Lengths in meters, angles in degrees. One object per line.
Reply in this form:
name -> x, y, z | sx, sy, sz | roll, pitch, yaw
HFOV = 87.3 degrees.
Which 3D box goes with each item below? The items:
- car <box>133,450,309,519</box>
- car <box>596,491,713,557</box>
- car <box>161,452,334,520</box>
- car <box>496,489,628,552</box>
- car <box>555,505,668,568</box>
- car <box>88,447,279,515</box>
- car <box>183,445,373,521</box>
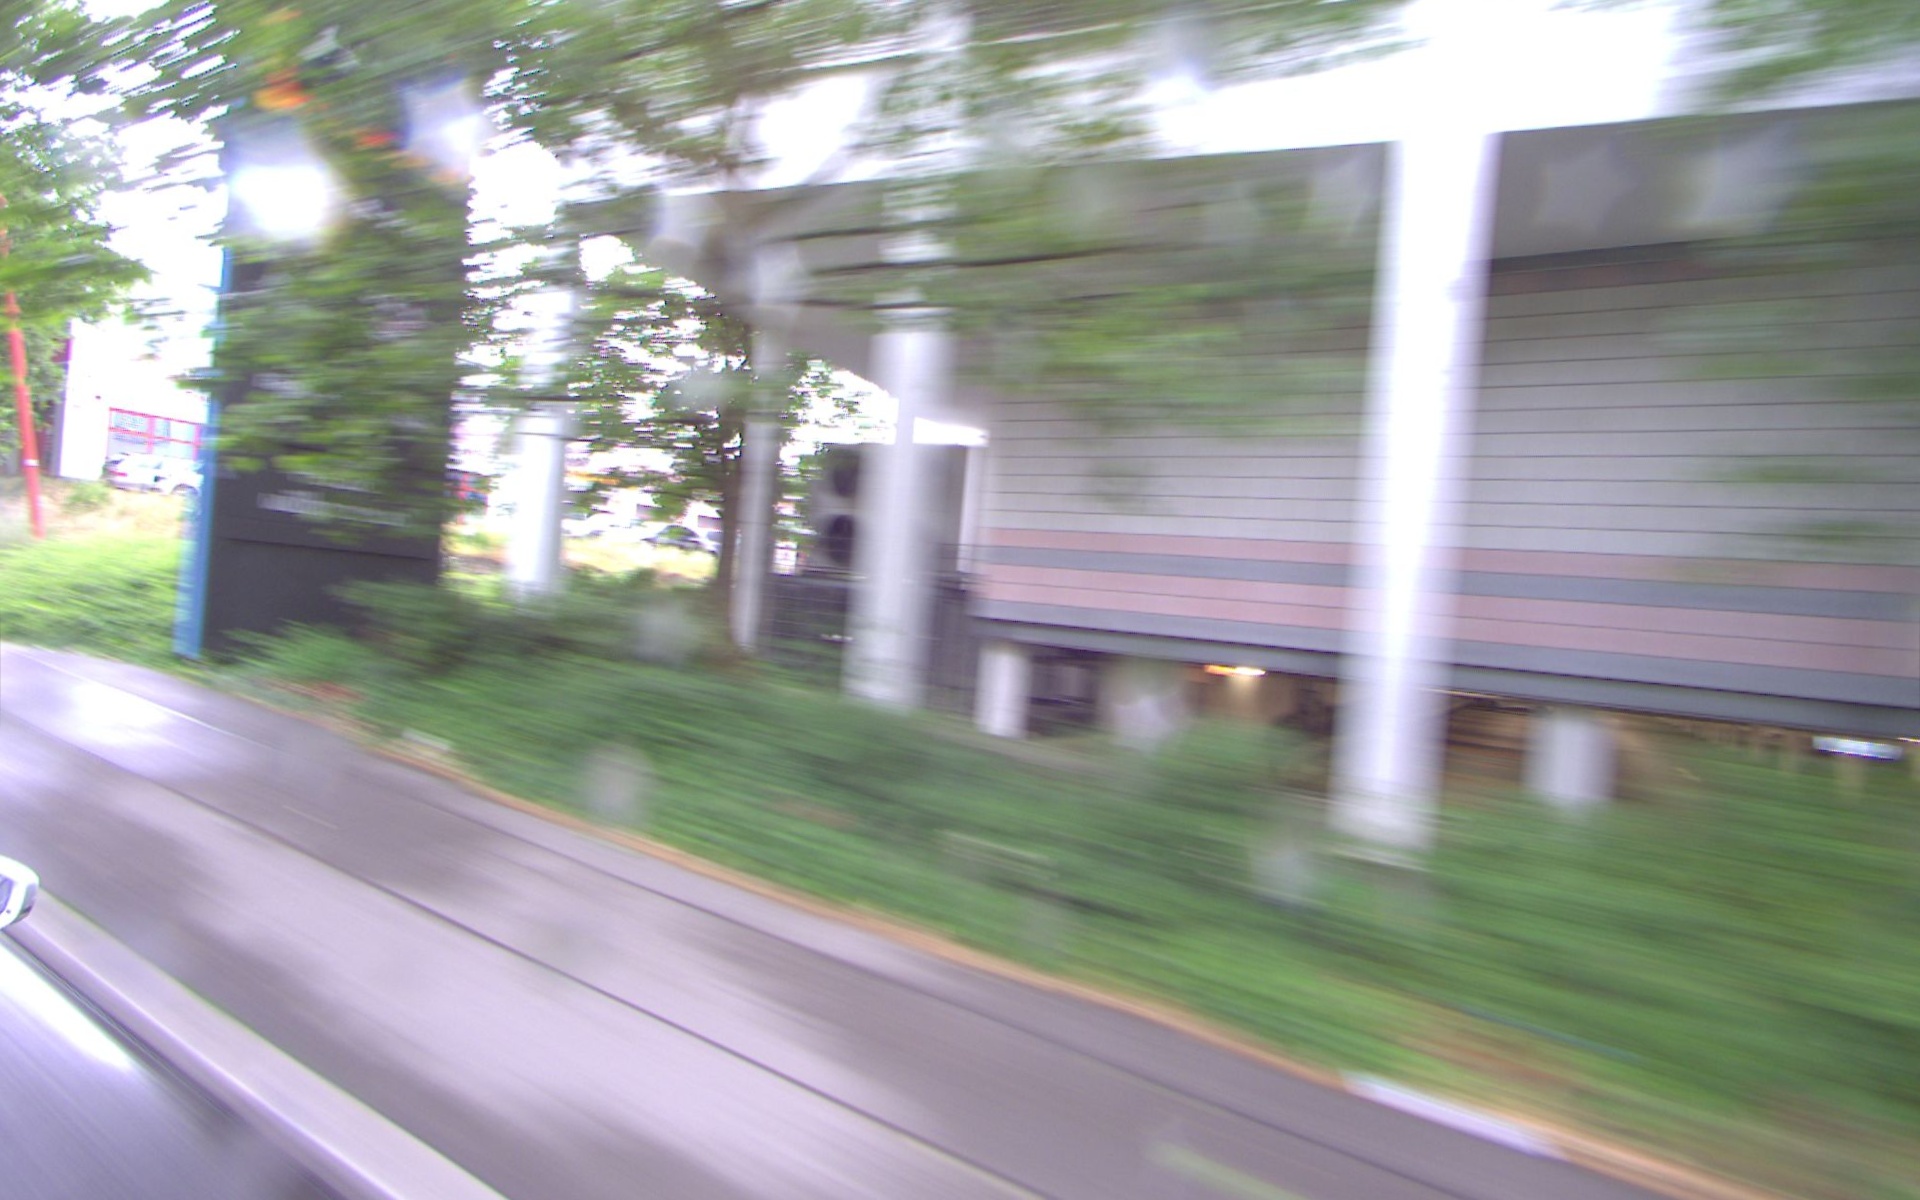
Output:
car -> -23.740, -3.686, 32.454 | 1.854, 1.485, 4.104 | 7, 0, 33
car -> -11.615, -2.860, 38.516 | 1.882, 1.803, 3.999 | 5, -3, 28
car -> -21.968, -3.499, 31.168 | 1.803, 1.308, 3.925 | 6, -2, 32
car -> -16.056, -3.178, 40.883 | 1.882, 1.805, 4.778 | 7, 0, 28
car -> -13.563, -2.444, 39.375 | 1.632, 1.803, 3.999 | 5, -3, 28
car -> -25.678, -3.910, 33.450 | 1.771, 1.350, 4.616 | 7, -1, 31
car -> -19.811, -3.361, 29.384 | 1.872, 1.392, 4.107 | 6, -2, 32
